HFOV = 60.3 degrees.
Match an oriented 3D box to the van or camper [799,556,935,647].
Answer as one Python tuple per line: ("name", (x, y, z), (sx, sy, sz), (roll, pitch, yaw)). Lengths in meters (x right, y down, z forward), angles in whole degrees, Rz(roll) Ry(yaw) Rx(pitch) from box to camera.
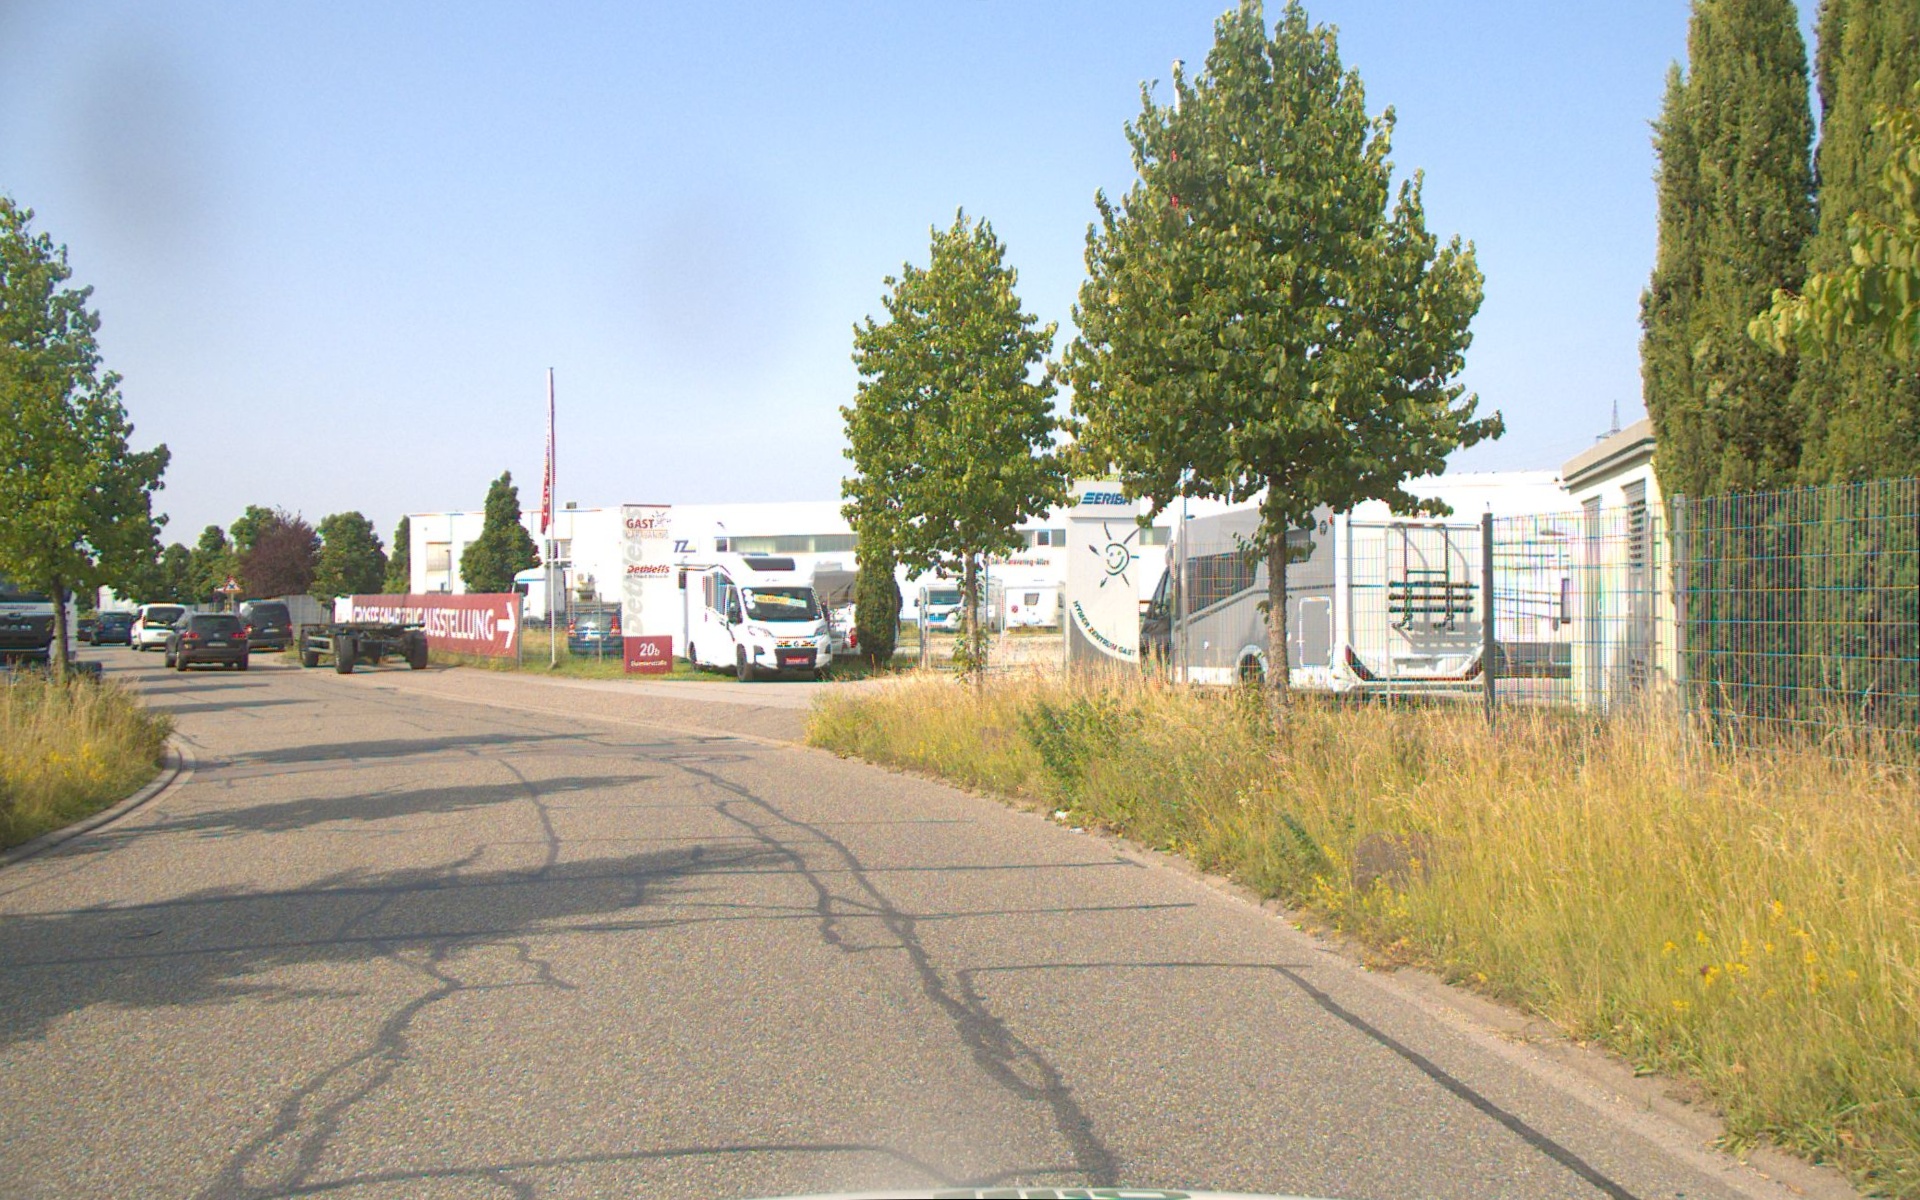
("van or camper", (-3.286, 0.027, 60.947), (2.886, 3.138, 7.977), (0, 0, 13))

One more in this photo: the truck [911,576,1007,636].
("truck", (0.070, 0.230, 73.799), (2.398, 2.514, 8.008), (0, 0, 14))

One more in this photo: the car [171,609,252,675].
("car", (-22.253, 1.189, 49.101), (1.971, 1.836, 3.963), (0, 0, -28))

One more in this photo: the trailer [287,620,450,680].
("trailer", (-17.414, 1.386, 48.246), (2.598, 1.412, 9.352), (-3, 1, -31))

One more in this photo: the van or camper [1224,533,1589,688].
("van or camper", (9.166, 0.235, 34.688), (7.104, 3.085, 2.587), (0, -1, 8))

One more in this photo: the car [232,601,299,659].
("car", (-26.501, 1.098, 63.021), (1.800, 2.012, 3.960), (-4, 2, -30))

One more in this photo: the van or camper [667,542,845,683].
("van or camper", (-4.930, 0.258, 38.865), (2.300, 2.995, 6.920), (0, 0, -23))

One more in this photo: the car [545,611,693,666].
("car", (-9.812, 1.079, 47.848), (2.124, 1.502, 3.994), (-1, 0, 29))

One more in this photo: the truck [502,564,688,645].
("truck", (-18.727, 0.235, 84.904), (9.085, 4.042, 2.461), (0, 0, 11))

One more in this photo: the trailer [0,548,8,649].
("trailer", (-46.556, 0.016, 77.329), (3.369, 4.416, 13.772), (0, 0, -31))

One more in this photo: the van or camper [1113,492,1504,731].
("van or camper", (4.666, 0.167, 23.923), (2.312, 2.898, 7.306), (0, 0, -17))

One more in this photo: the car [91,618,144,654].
("car", (-41.035, 1.713, 80.528), (1.974, 1.668, 3.956), (0, 0, -32))

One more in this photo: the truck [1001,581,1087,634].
("truck", (3.939, 0.308, 75.588), (2.398, 2.305, 8.008), (0, 0, 14))

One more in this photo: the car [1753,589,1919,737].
("car", (11.532, 0.716, 20.769), (1.686, 1.672, 4.003), (1, 0, 8))

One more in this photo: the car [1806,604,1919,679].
("car", (18.641, 0.810, 33.216), (1.674, 1.403, 4.003), (1, 0, 7))

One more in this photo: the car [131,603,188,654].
("car", (-32.253, 1.102, 66.595), (1.970, 1.932, 4.427), (0, 0, -28))

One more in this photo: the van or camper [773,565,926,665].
("van or camper", (-2.977, 0.362, 46.529), (2.430, 2.603, 6.631), (0, 0, 13))

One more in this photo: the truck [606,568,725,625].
("truck", (-13.593, -0.142, 77.093), (2.398, 2.514, 8.008), (0, 0, 14))

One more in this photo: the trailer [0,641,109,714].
("trailer", (-17.181, 1.376, 30.172), (2.549, 1.119, 5.144), (0, 0, -32))

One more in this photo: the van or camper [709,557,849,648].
("van or camper", (-6.597, 0.058, 61.702), (2.738, 3.138, 7.977), (0, 0, 13))

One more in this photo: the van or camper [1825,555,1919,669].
("van or camper", (23.318, 0.300, 40.324), (2.170, 2.569, 6.615), (0, -1, 11))

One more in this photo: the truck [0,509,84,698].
("truck", (-23.267, 0.139, 40.641), (2.598, 3.998, 12.786), (0, -1, -30))

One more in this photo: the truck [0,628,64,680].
("truck", (-27.469, 1.526, 47.697), (2.500, 1.287, 6.455), (-1, 0, -32))
